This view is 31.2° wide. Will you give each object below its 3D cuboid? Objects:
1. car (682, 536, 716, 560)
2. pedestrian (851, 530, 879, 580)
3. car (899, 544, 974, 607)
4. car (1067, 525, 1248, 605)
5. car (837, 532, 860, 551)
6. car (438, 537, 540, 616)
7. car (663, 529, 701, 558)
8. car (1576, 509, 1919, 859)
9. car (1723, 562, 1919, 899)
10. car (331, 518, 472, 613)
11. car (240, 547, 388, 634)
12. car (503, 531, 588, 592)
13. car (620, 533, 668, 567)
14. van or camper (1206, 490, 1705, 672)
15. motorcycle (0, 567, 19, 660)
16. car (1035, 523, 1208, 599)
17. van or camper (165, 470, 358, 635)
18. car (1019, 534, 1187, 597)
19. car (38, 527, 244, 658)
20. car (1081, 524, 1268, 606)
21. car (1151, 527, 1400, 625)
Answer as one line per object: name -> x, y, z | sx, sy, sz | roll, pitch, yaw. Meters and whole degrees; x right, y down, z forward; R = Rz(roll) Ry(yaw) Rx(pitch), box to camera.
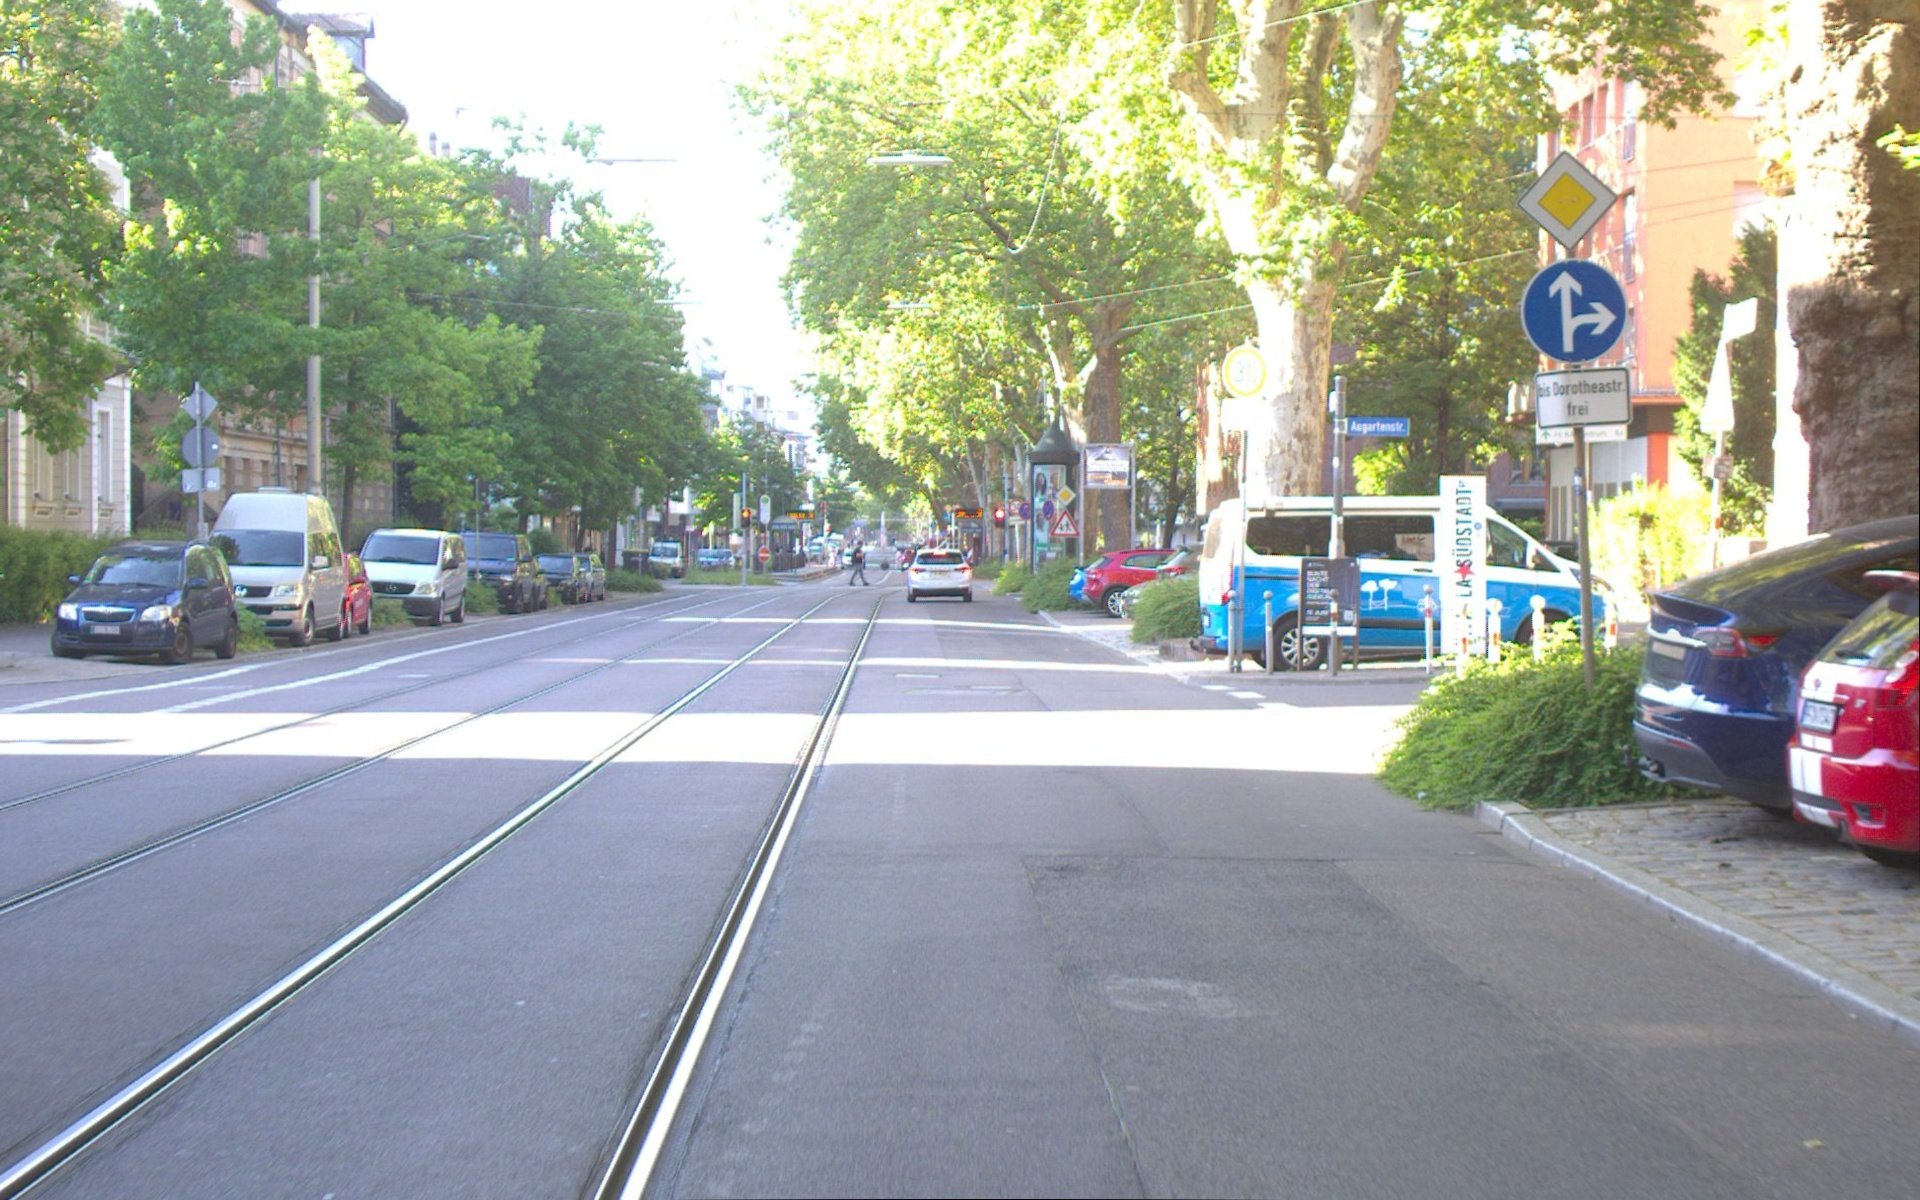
car -> -15.398, -3.072, 202.920 | 1.918, 1.414, 3.591 | 0, 1, -3
pedestrian -> -3.806, -1.804, 137.690 | 1.048, 2.007, 1.081 | 0, 1, 2
car -> -0.646, -0.681, 92.426 | 1.918, 1.579, 3.791 | -1, 1, -1
car -> 4.462, -0.815, 78.221 | 3.987, 1.778, 2.000 | 0, 1, 0
car -> -8.273, -4.321, 254.626 | 1.635, 1.414, 3.591 | 0, 1, -3
car -> -11.527, -0.601, 84.349 | 1.993, 1.854, 4.179 | 0, 1, -1
car -> -14.977, -3.035, 185.093 | 1.918, 1.414, 3.591 | -2, 0, -6
car -> 5.280, 0.375, 17.394 | 3.923, 1.664, 1.961 | 0, 1, -2
car -> 5.403, 0.528, 15.174 | 3.650, 1.373, 1.890 | 0, 1, 0
car -> -11.317, -0.732, 69.931 | 2.173, 1.854, 4.659 | 0, 1, -1
car -> -11.349, -0.202, 60.624 | 1.876, 1.455, 4.207 | 0, 1, -1
car -> -12.063, -1.152, 100.265 | 1.993, 1.739, 4.659 | 0, 1, -1
car -> -13.612, -2.172, 148.442 | 1.918, 1.414, 3.721 | 0, 1, -3
van or camper -> 5.887, -0.262, 41.311 | 5.554, 2.006, 2.245 | -1, 4, -5
motorcycle -> -12.161, 0.204, 41.910 | 0.763, 1.103, 2.330 | 0, 3, -1
car -> 3.812, -0.929, 81.479 | 3.987, 1.778, 2.000 | 0, 1, 0
van or camper -> -11.155, -0.779, 55.249 | 2.079, 2.524, 5.318 | 0, 1, -1
car -> 3.461, -0.854, 83.785 | 3.987, 1.515, 2.000 | 0, 1, 0
car -> -10.900, -0.142, 46.026 | 1.786, 1.581, 4.344 | 3, 1, -2
car -> 4.720, -0.791, 75.939 | 3.987, 1.778, 2.000 | 0, 1, 0
car -> 5.270, -0.421, 57.867 | 3.987, 1.603, 2.000 | 0, 1, 0
